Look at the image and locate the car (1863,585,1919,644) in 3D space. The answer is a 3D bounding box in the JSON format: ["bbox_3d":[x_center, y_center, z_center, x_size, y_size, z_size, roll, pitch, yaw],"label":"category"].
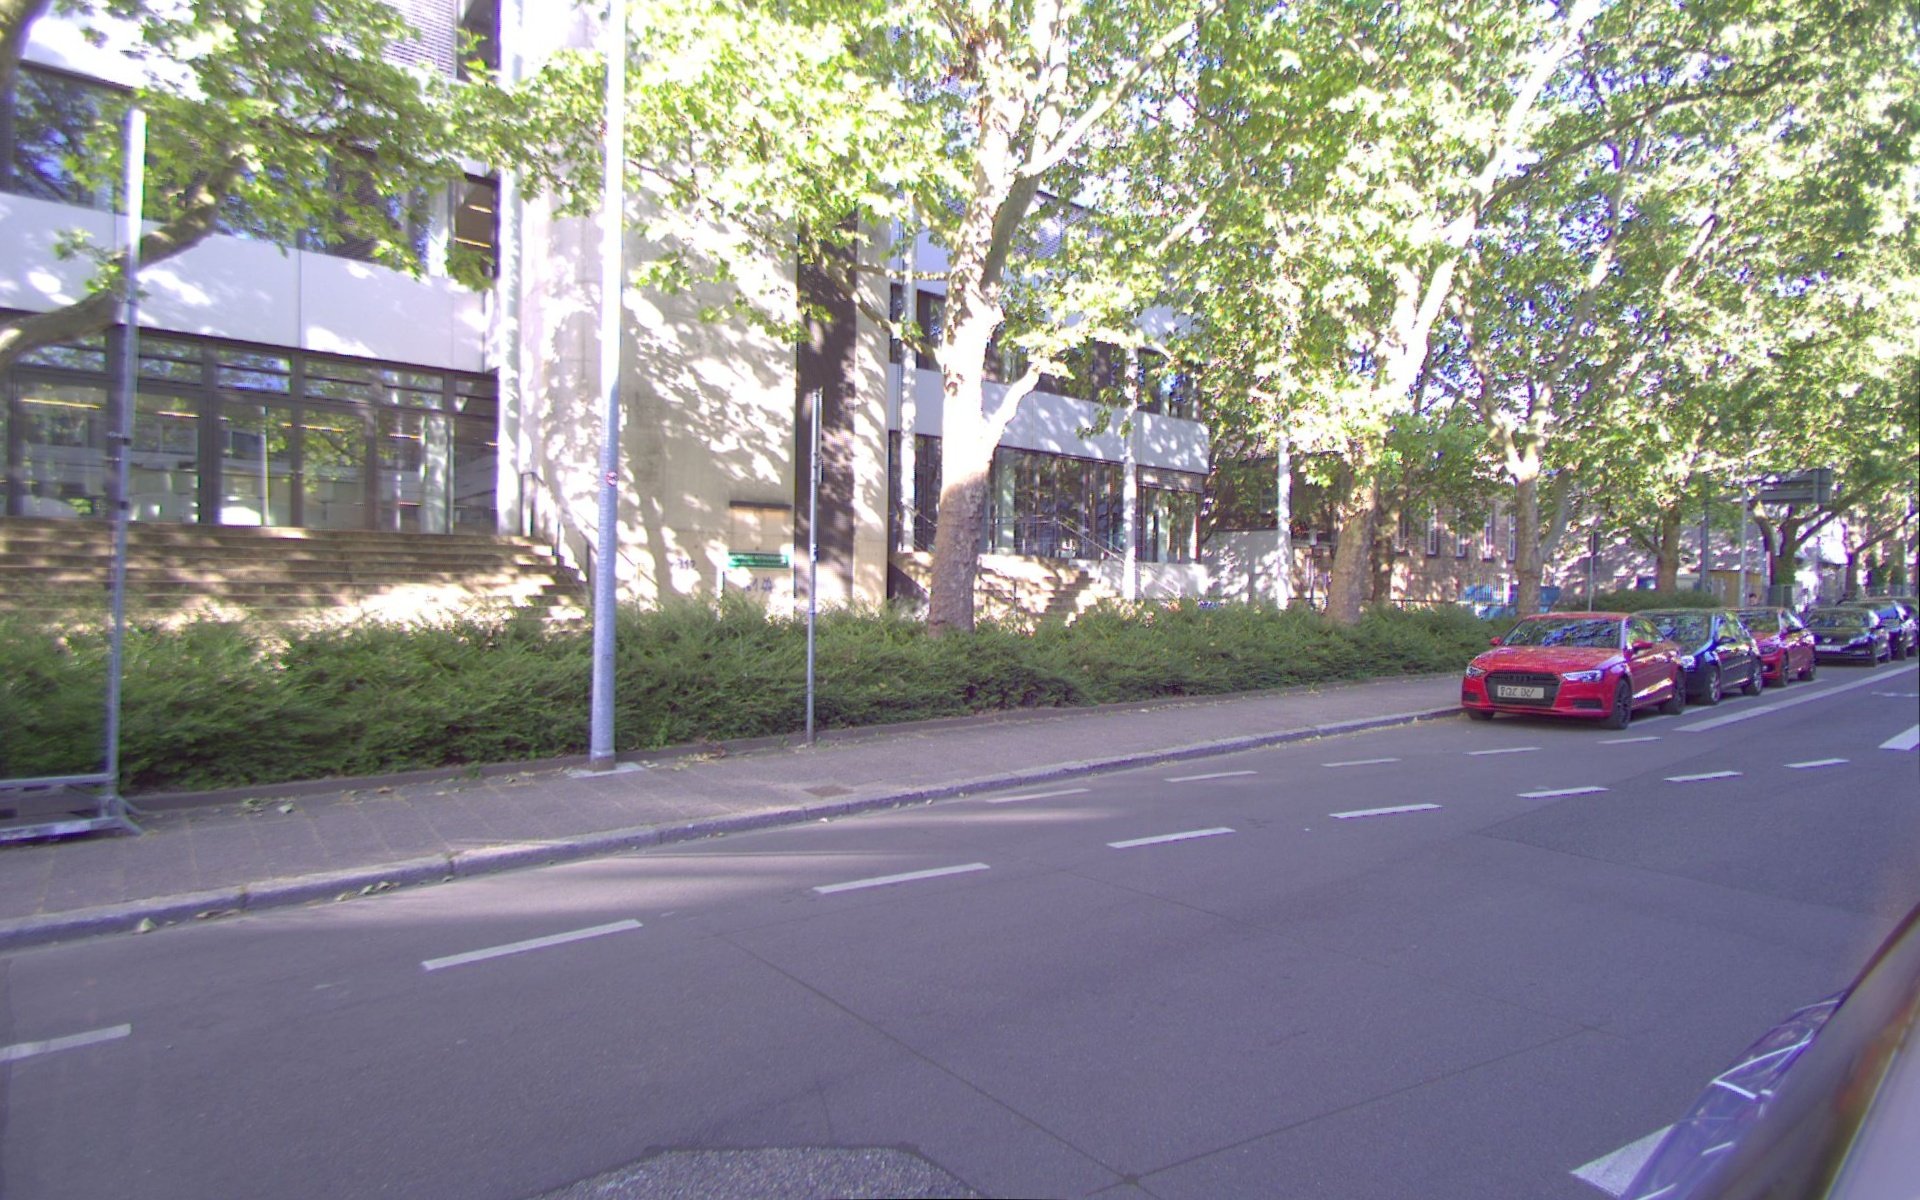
[{"bbox_3d":[31.045,0.442,32.970,4.383,1.820,1.834,0,0,-40],"label":"car"}]

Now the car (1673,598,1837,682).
[{"bbox_3d":[15.837,0.711,20.095,4.095,1.486,1.834,0,0,-41],"label":"car"}]

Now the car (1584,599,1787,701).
[{"bbox_3d":[12.021,0.720,16.681,4.095,1.464,1.834,0,0,-41],"label":"car"}]

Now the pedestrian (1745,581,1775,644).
[{"bbox_3d":[23.327,0.346,29.508,0.583,1.818,0.600,0,0,-41],"label":"pedestrian"}]

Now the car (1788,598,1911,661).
[{"bbox_3d":[22.870,0.704,25.986,4.095,1.486,1.834,0,0,-41],"label":"car"}]

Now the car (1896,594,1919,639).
[{"bbox_3d":[35.908,0.584,37.095,4.183,1.634,1.834,0,0,-40],"label":"car"}]

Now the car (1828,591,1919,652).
[{"bbox_3d":[26.559,0.575,29.080,4.088,1.626,1.834,0,0,-40],"label":"car"}]

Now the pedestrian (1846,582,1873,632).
[{"bbox_3d":[34.172,0.258,38.448,0.629,1.884,0.660,0,0,-41],"label":"pedestrian"}]

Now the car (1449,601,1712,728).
[{"bbox_3d":[8.402,0.738,13.564,4.173,1.422,1.834,0,0,-41],"label":"car"}]
